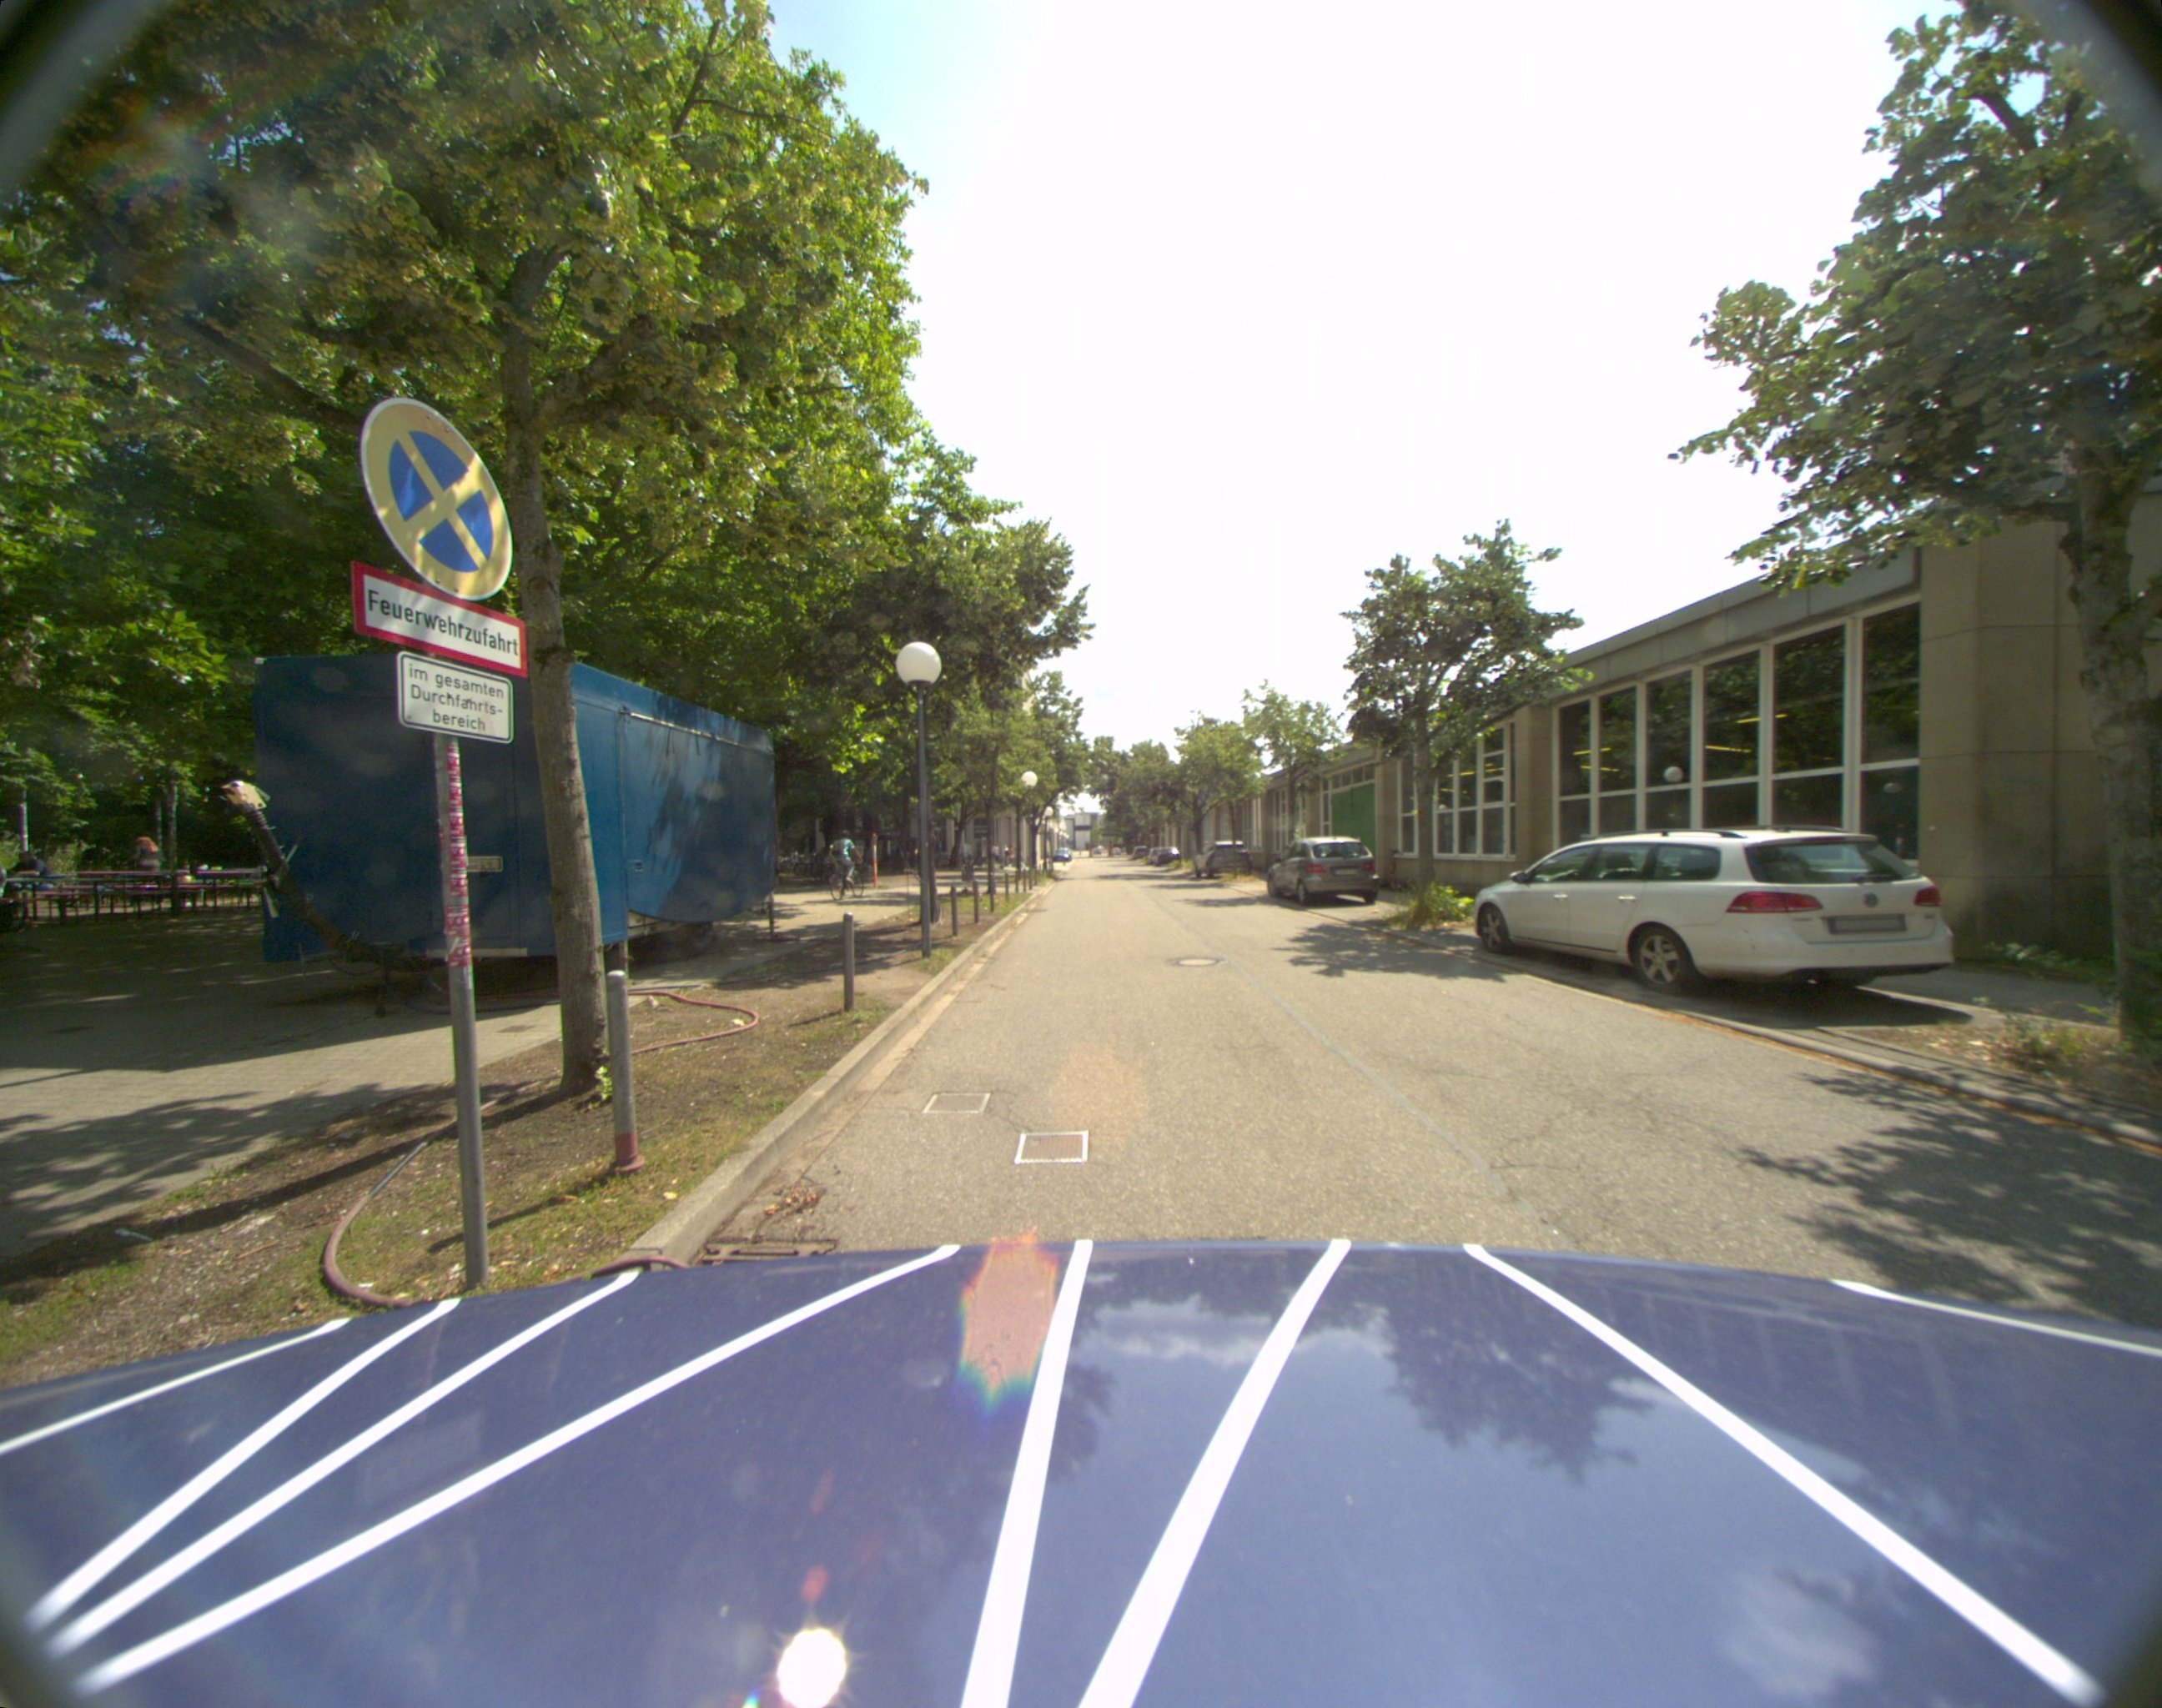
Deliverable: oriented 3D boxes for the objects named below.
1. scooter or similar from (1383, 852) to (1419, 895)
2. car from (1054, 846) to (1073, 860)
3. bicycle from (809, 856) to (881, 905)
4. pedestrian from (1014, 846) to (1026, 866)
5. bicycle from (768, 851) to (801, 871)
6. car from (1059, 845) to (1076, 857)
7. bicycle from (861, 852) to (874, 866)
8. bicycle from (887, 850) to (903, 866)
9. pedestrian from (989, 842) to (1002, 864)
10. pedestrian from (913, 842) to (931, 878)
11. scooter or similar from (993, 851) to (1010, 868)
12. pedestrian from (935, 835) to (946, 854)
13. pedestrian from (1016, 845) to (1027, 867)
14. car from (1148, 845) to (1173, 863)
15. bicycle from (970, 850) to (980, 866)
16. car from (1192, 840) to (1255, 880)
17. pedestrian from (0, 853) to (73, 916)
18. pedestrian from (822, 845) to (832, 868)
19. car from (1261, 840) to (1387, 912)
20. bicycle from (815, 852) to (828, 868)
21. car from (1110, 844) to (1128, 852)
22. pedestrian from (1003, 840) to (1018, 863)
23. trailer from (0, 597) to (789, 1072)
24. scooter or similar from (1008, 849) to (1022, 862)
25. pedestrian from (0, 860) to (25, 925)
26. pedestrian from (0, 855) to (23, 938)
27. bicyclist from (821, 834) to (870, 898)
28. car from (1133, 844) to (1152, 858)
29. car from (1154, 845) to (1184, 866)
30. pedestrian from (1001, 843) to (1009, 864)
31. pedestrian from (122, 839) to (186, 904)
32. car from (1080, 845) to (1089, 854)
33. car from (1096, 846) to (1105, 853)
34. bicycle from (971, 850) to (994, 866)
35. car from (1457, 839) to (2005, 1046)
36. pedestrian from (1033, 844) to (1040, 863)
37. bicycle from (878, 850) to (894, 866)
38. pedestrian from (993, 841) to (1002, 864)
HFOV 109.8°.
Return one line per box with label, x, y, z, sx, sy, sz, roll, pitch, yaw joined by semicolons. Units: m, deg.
scooter or similar;9.092;0.539;21.616;0.506;1.162;1.215;-3;1;1
car;-1.878;-0.110;81.659;1.843;1.390;3.878;1;0;1
bicycle;-6.021;0.645;19.539;0.651;1.117;2.298;2;2;15
pedestrian;-4.861;0.145;60.681;0.797;1.533;0.664;-1;1;2
bicycle;-18.015;0.413;46.203;1.849;1.163;0.412;-1;1;-38
car;-1.541;-0.304;87.435;1.843;1.390;3.878;1;0;1
bicycle;-15.638;0.368;55.624;0.568;1.041;1.695;-3;0;-7
bicycle;-13.587;0.294;55.534;0.627;1.118;1.697;1;-1;6
pedestrian;-7.139;-0.072;63.683;0.811;1.787;0.618;-2;2;-43
pedestrian;-7.230;0.252;34.585;0.570;1.563;0.926;0;5;1
scooter or similar;-5.194;0.371;49.724;0.496;1.107;1.365;0;0;26
pedestrian;-13.930;-0.946;75.395;0.618;1.787;0.811;0;2;33
pedestrian;-4.807;0.148;61.451;0.797;1.718;0.601;-1;1;4
car;6.663;-0.028;64.162;1.634;1.441;3.752;-4;1;0
bicycle;-7.724;0.258;55.506;0.561;1.135;1.489;1;1;-2
car;6.453;0.226;34.892;1.826;1.623;4.515;-3;1;-2
pedestrian;-21.889;0.628;15.924;0.668;1.264;0.622;2;0;-4
pedestrian;-18.733;0.170;56.064;0.428;1.693;0.944;-3;1;-4
car;6.037;0.470;19.381;1.762;1.547;4.112;-3;1;-1
bicycle;-19.081;0.464;55.934;0.454;1.123;1.688;-3;0;-4
car;7.810;-1.226;156.208;3.674;1.441;1.804;-4;1;-1
pedestrian;-5.330;-0.211;57.312;0.936;1.730;0.749;-1;2;7
trailer;-5.622;-0.154;7.994;2.698;3.034;6.256;0;1;0
scooter or similar;-6.419;0.128;73.461;0.566;1.205;1.506;-3;4;-39
pedestrian;-21.727;0.757;15.069;0.668;1.264;0.622;2;0;-4
pedestrian;-17.838;0.694;12.230;0.571;1.339;0.729;2;0;-4
bicyclist;-6.024;0.286;19.463;0.651;1.558;1.197;2;2;15
car;7.003;-0.356;86.338;1.803;1.441;3.676;-4;1;0
car;6.745;0.103;58.494;1.729;1.427;4.289;-3;0;0
pedestrian;-6.375;-0.041;63.896;0.613;1.719;0.542;-1;2;2
pedestrian;-22.930;0.433;18.801;0.719;1.572;0.668;2;0;-12
car;0.879;-0.975;176.751;1.998;2.002;4.000;2;0;1
car;4.506;-0.993;176.795;1.803;1.441;3.676;-4;1;0
bicycle;-7.087;0.291;54.748;0.604;1.135;1.790;2;2;34
car;5.984;0.623;7.947;1.730;1.448;4.582;-3;1;-1
pedestrian;-4.068;-0.023;69.210;0.613;1.719;0.542;-1;2;2
bicycle;-14.294;0.299;55.731;0.627;1.143;1.697;1;-1;2
pedestrian;-6.884;-0.150;62.628;0.687;1.880;0.686;-2;2;-2
